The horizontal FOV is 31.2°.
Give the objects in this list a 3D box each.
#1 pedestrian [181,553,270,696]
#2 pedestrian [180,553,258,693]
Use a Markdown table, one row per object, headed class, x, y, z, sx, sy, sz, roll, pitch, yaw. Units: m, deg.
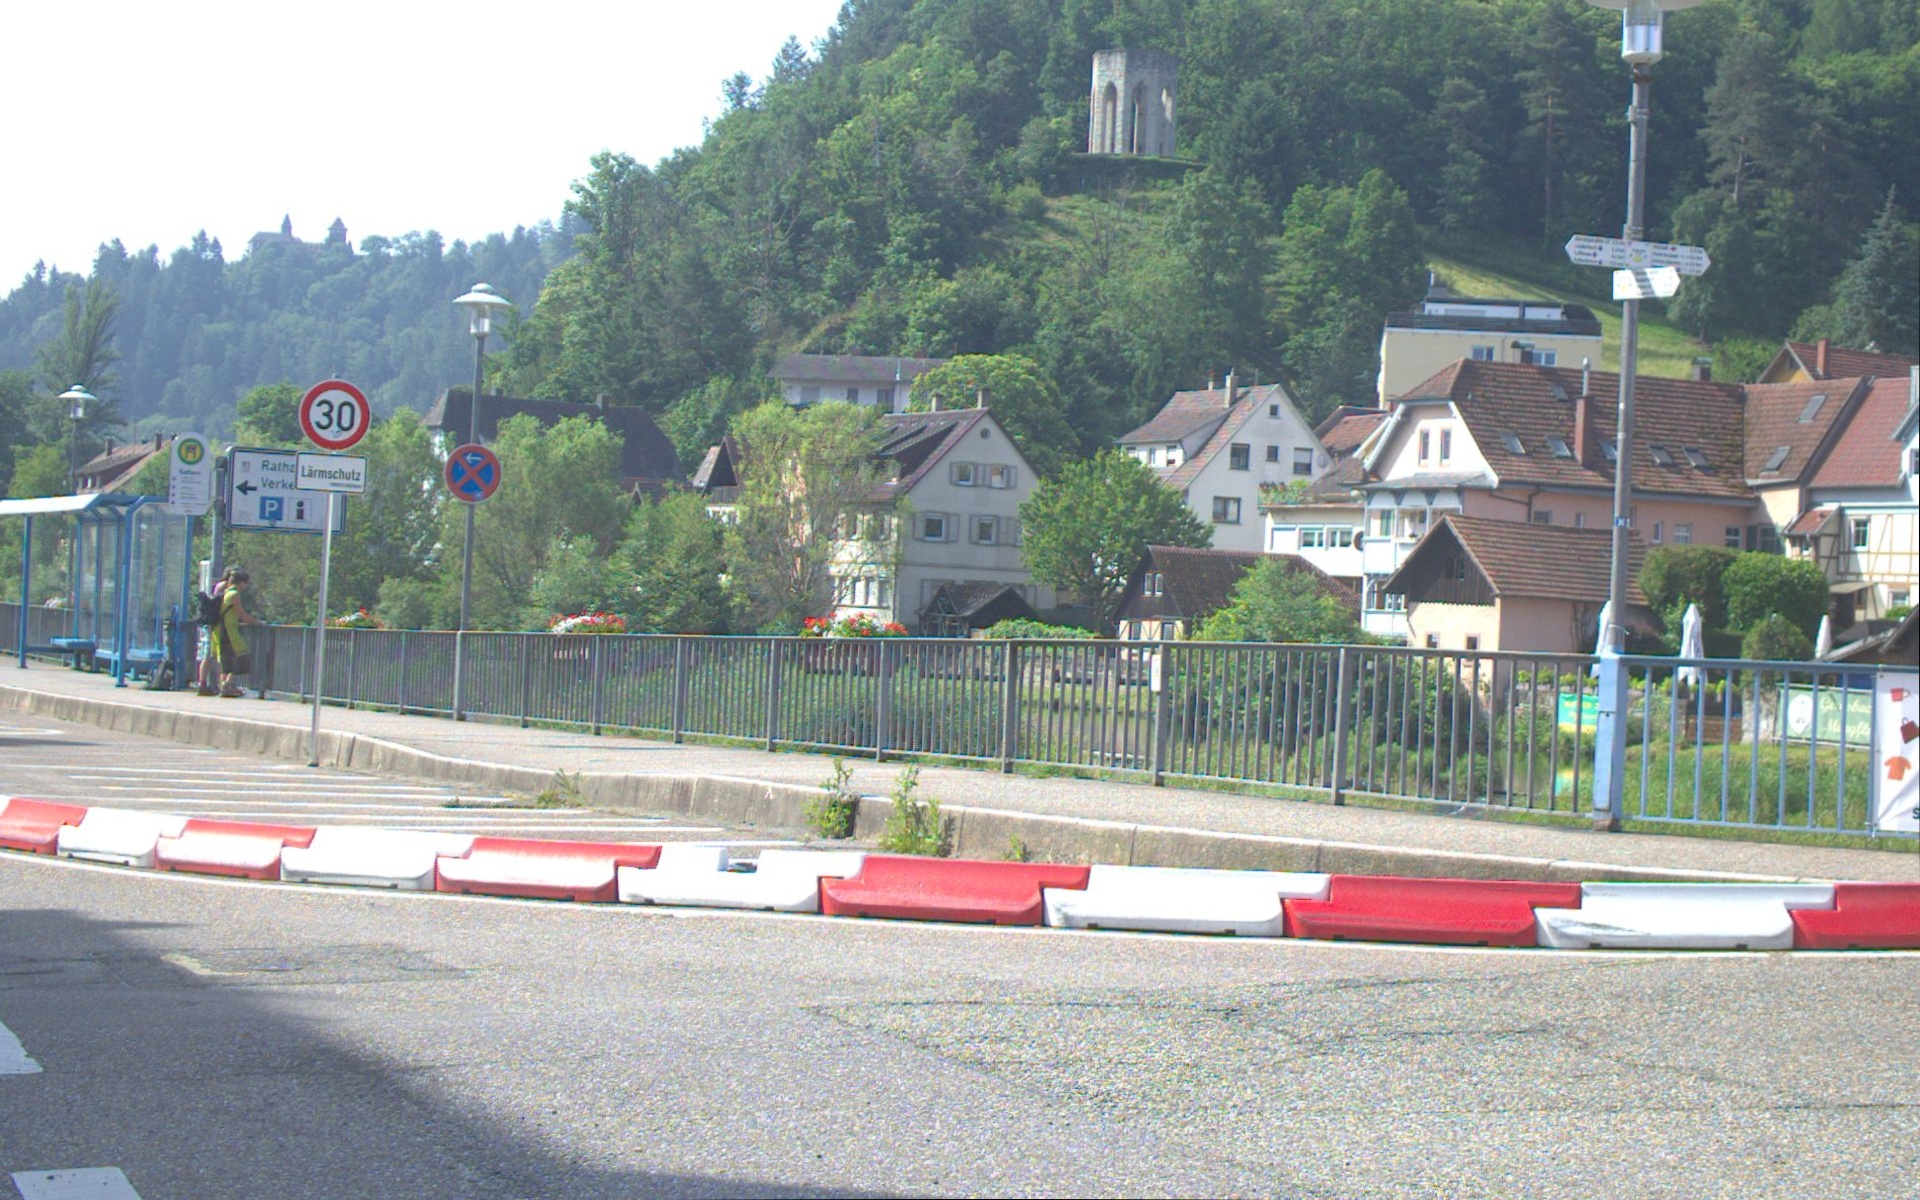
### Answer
| class | x | y | z | sx | sy | sz | roll | pitch | yaw |
| --- | --- | --- | --- | --- | --- | --- | --- | --- | --- |
| pedestrian | -9.017 | 0.291 | 42.179 | 0.866 | 1.700 | 0.777 | 3 | 0 | -22 |
| pedestrian | -9.220 | 0.281 | 42.789 | 0.789 | 1.700 | 0.492 | 3 | 0 | -22 |
